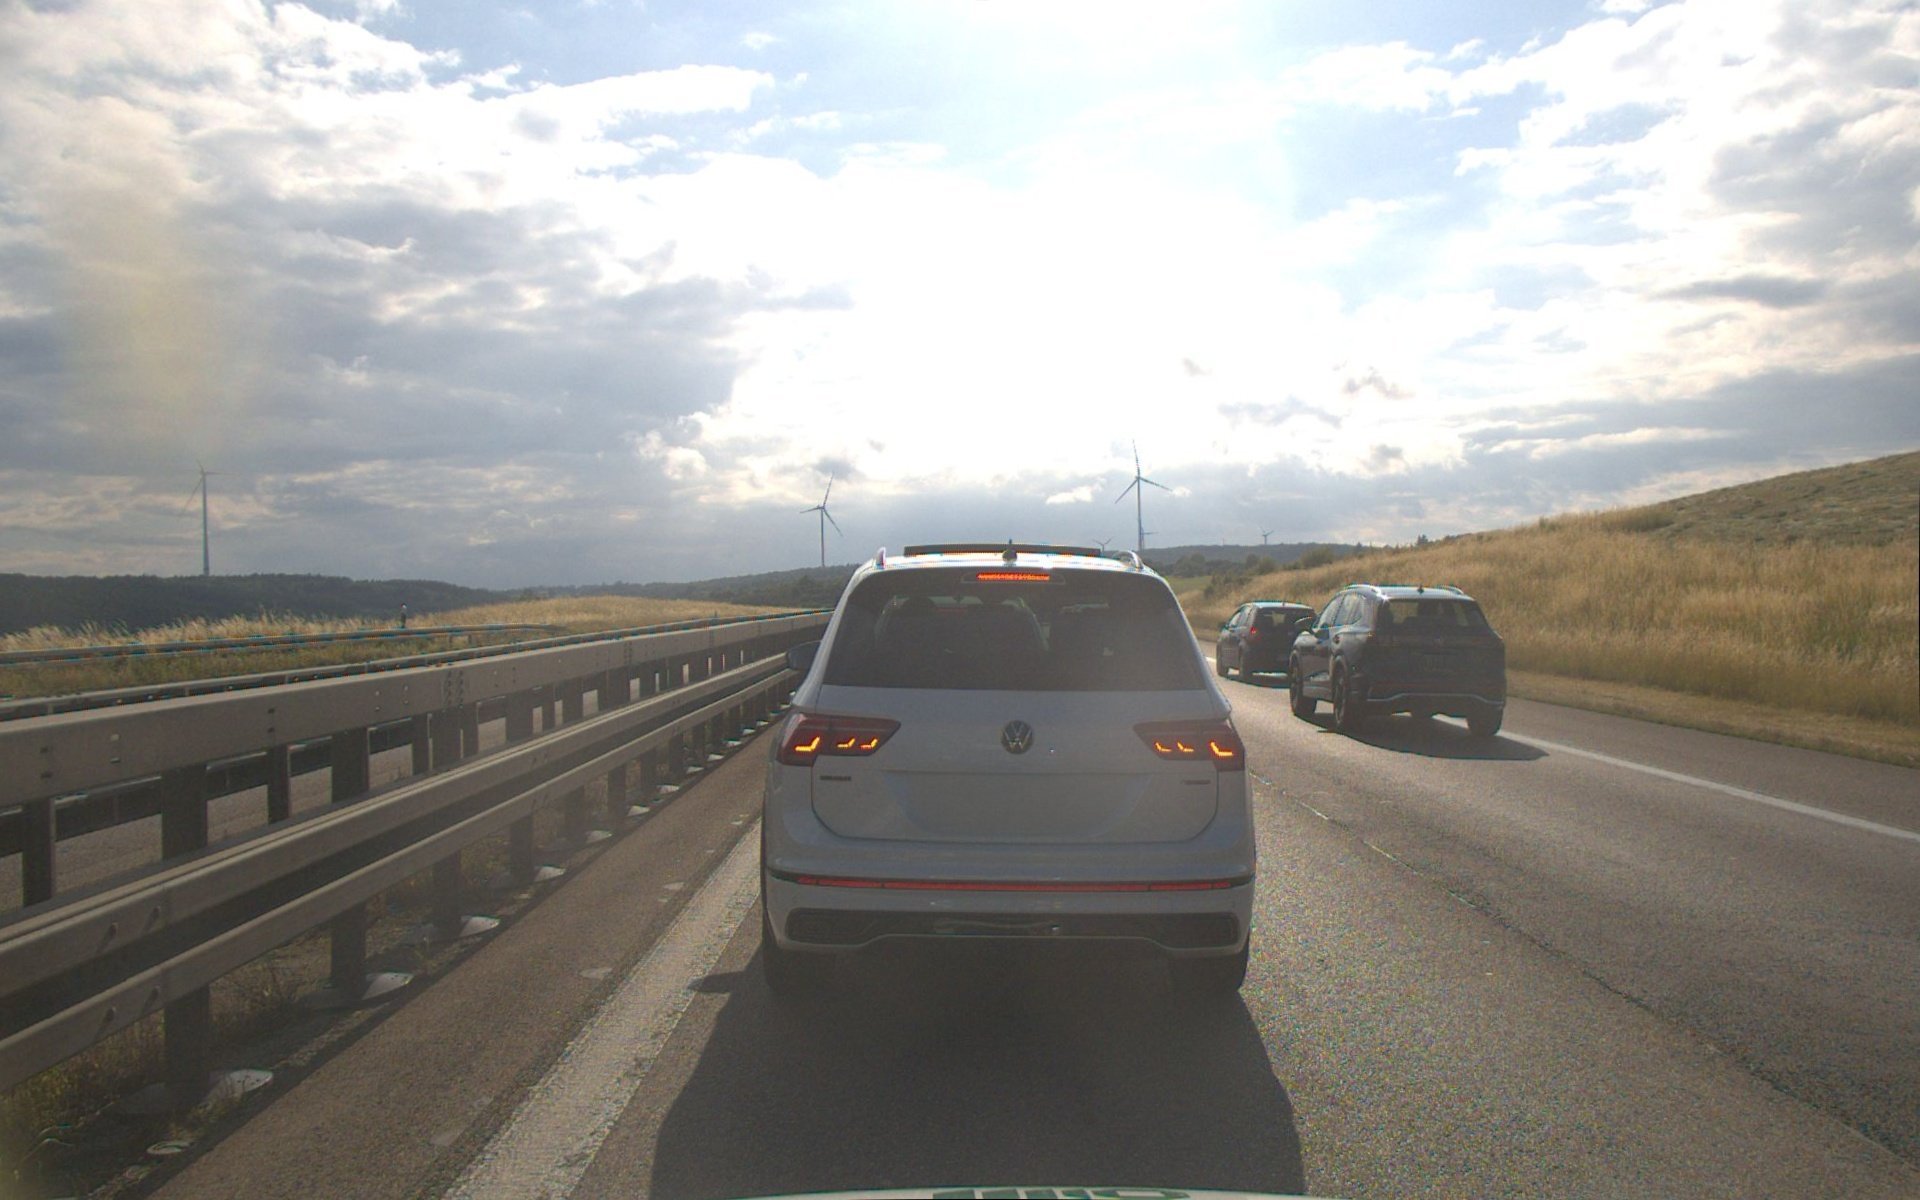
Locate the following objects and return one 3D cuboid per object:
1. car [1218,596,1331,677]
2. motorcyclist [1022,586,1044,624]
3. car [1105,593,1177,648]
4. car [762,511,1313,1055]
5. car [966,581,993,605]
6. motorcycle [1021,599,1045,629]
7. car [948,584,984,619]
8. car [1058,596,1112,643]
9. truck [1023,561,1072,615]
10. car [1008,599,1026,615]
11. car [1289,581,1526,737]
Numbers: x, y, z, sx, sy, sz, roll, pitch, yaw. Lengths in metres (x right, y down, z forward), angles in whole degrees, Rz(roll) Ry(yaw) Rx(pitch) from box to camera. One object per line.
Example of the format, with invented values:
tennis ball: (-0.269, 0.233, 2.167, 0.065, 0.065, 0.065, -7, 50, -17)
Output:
car: (5.940, 0.664, 31.539, 1.572, 1.445, 3.673, 0, 0, 2)
motorcyclist: (3.053, 0.211, 69.128, 0.832, 1.587, 0.934, 0, 0, -1)
car: (5.368, 0.584, 49.459, 1.669, 1.573, 3.999, 0, 0, -1)
car: (0.222, 0.580, 7.207, 1.734, 1.705, 3.999, 0, 0, -1)
car: (1.278, -0.436, 110.512, 1.669, 1.573, 3.999, 0, 0, -1)
motorcycle: (3.049, 0.573, 69.172, 0.877, 1.211, 2.256, 0, 0, -1)
car: (0.281, 0.074, 80.497, 1.669, 1.679, 3.999, 0, 0, -1)
car: (4.674, 0.713, 62.193, 1.669, 1.679, 3.999, 0, 0, -1)
truck: (6.118, -0.856, 117.638, 3.118, 3.656, 11.132, 0, 1, 1)
car: (5.968, 0.736, 174.287, 1.669, 1.573, 3.999, 0, 0, -1)
car: (5.242, 0.637, 19.942, 1.783, 1.629, 4.235, 2, 0, 2)
